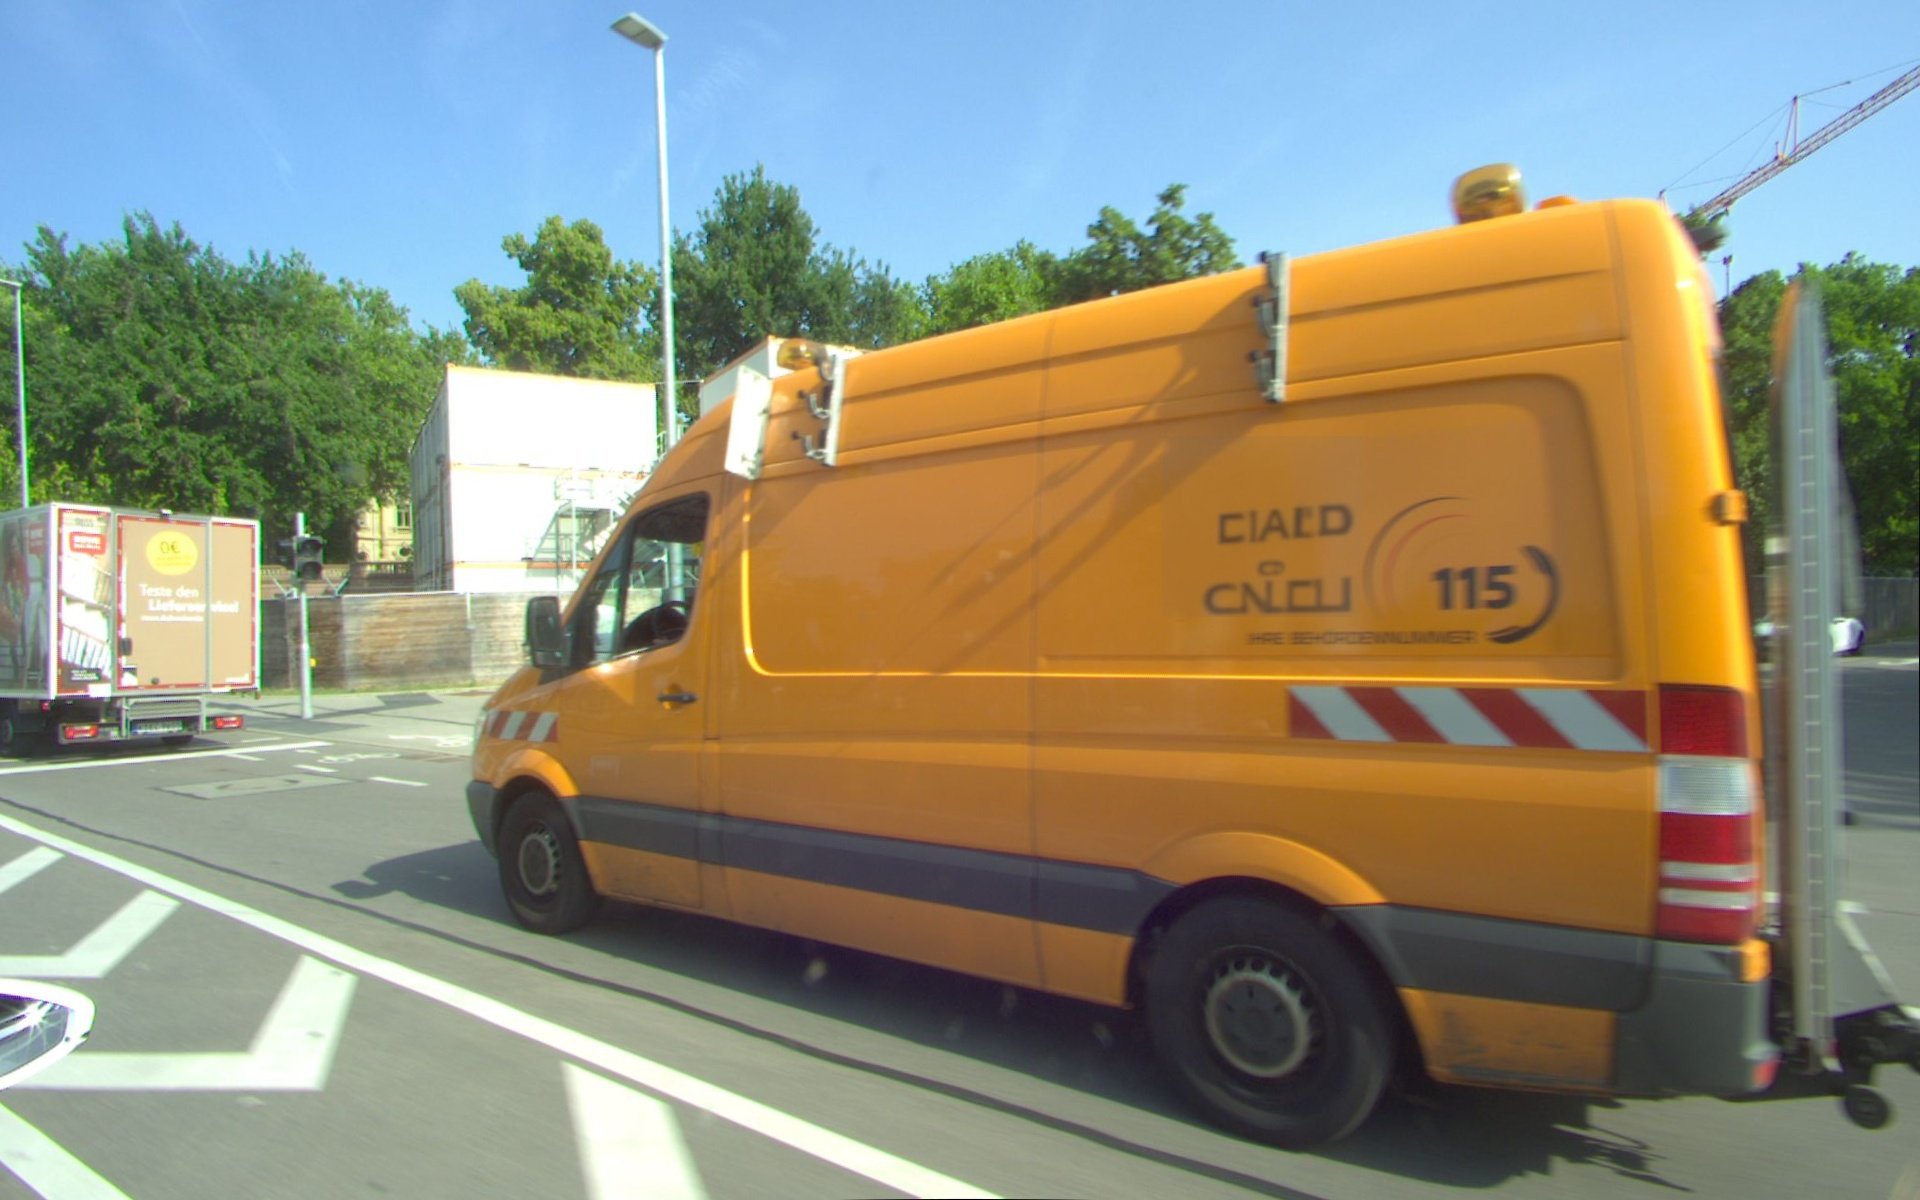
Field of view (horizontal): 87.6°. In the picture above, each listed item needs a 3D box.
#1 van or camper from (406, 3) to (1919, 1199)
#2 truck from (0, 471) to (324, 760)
[{"bbox_3d":[0.023,0.145,4.482,5.980,2.504,1.980,-1,0,35],"label":"van or camper"},{"bbox_3d":[-12.145,0.318,13.812,7.706,3.099,2.499,-2,-2,31],"label":"truck"}]
